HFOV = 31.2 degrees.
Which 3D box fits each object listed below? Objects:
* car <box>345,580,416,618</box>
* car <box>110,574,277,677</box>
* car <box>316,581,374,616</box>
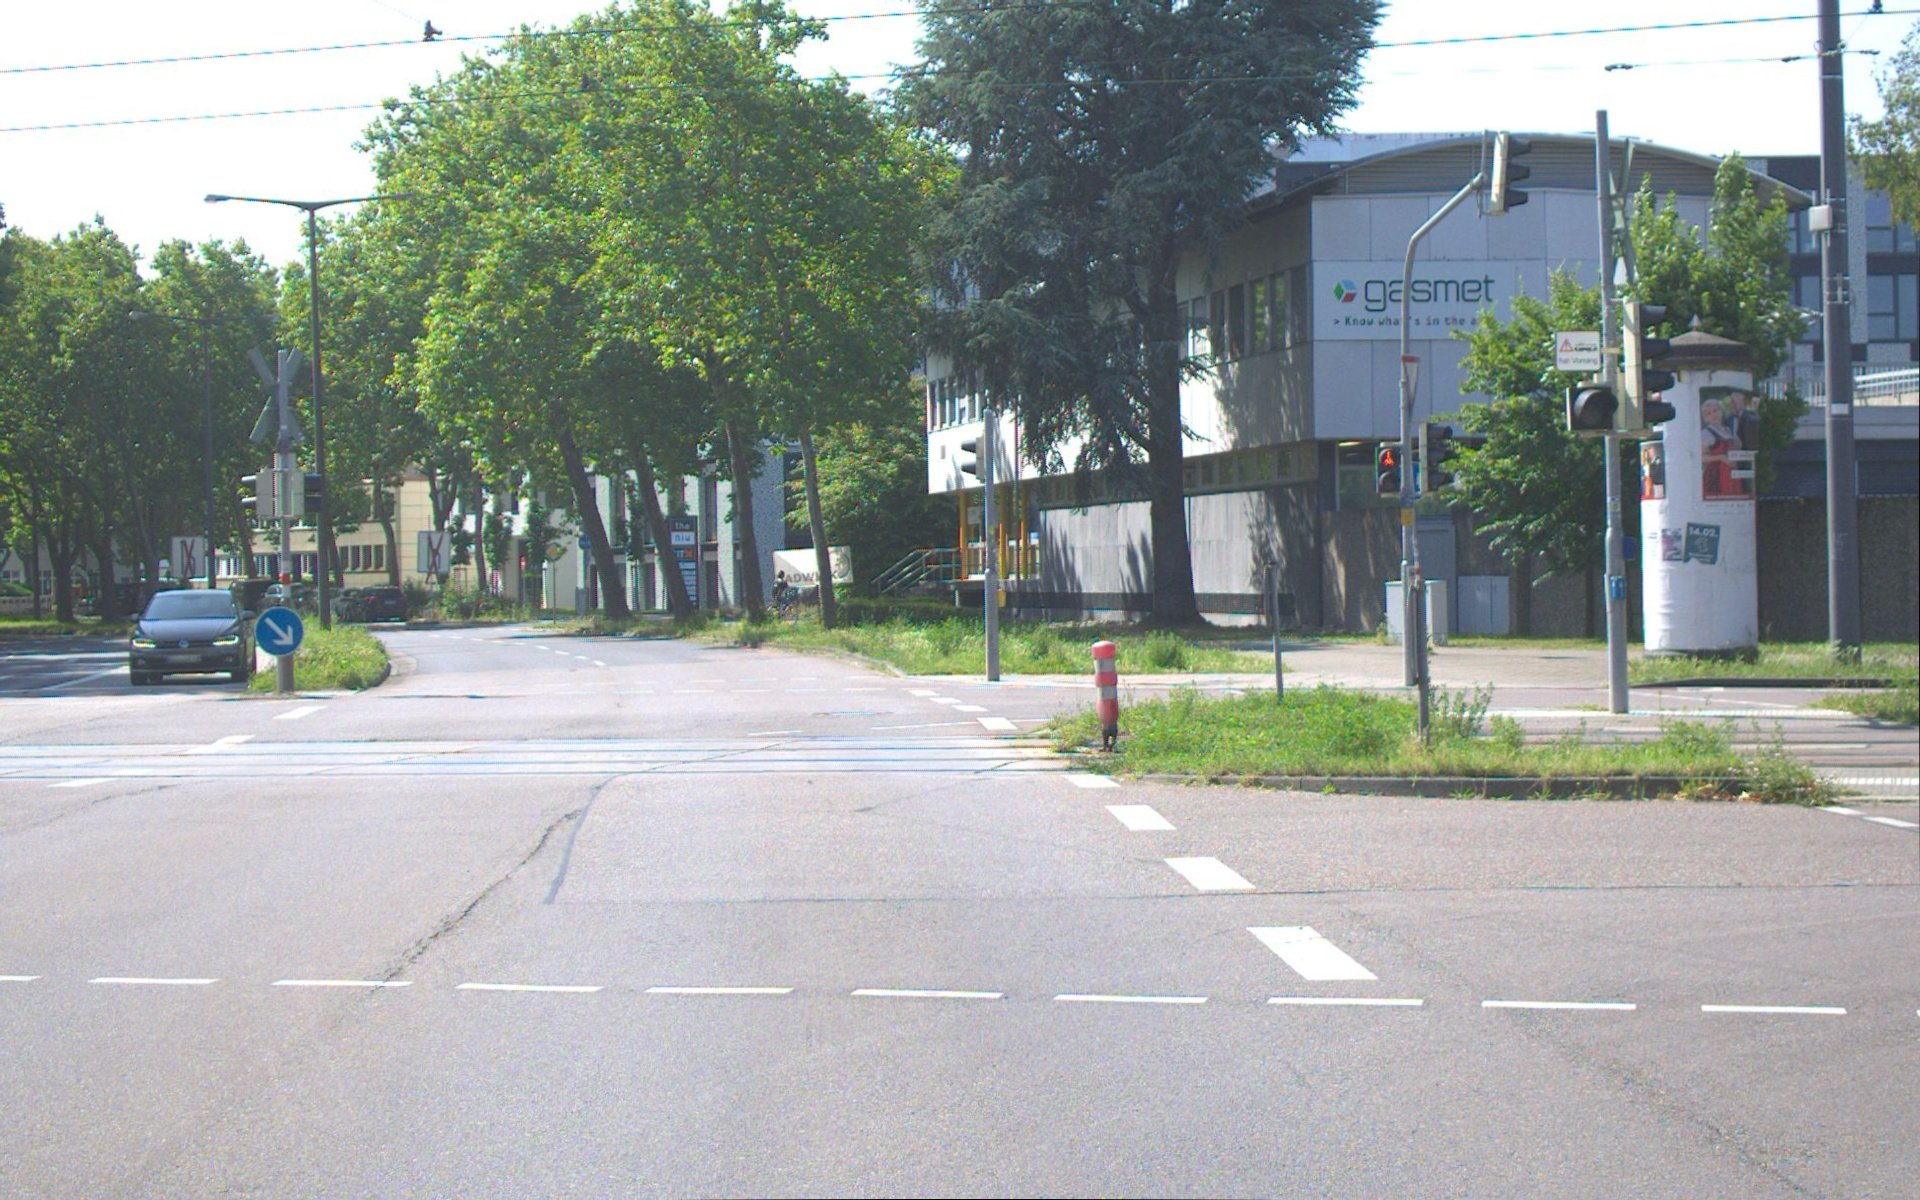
[{"bbox_3d":[-24.210,-0.039,143.608,1.706,1.482,4.720,-3,1,-25],"label":"car"},{"bbox_3d":[-11.905,0.370,53.610,1.694,1.503,4.130,-1,1,-1],"label":"car"},{"bbox_3d":[-26.625,-0.074,148.810,1.706,1.482,4.102,-2,1,-21],"label":"car"}]
